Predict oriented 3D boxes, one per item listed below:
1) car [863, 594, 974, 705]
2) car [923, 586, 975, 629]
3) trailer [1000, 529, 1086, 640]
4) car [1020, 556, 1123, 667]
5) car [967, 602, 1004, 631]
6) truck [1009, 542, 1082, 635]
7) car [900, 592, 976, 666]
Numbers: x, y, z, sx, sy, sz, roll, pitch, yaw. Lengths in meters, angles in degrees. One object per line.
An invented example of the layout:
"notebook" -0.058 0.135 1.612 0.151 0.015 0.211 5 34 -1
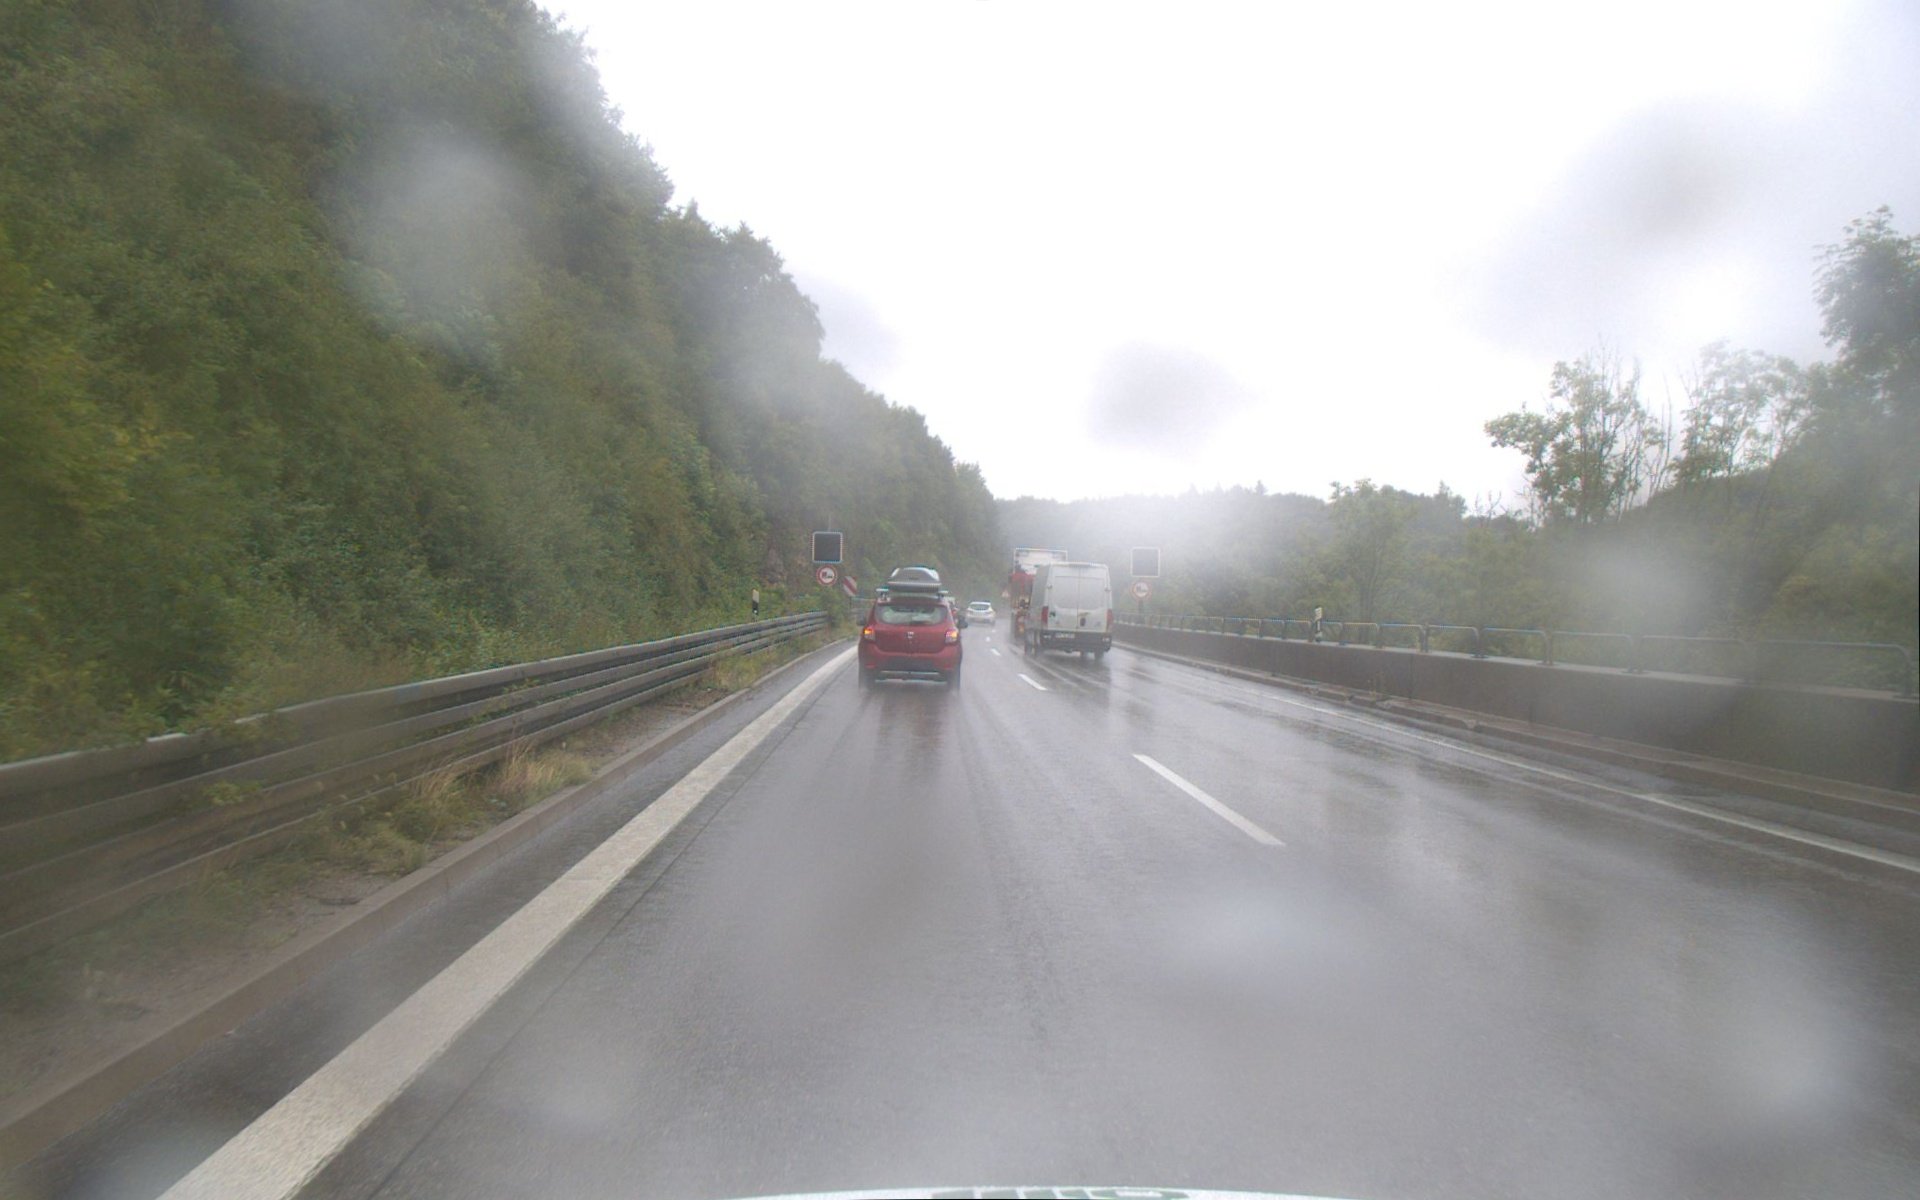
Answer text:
"car" -0.694 0.807 28.178 1.722 1.714 3.999 -1 -1 -1
"car" -0.437 0.323 70.455 1.835 1.736 3.890 -1 -1 4
"trailer" 3.507 -0.558 68.361 3.151 4.069 13.529 1 0 4
"car" 3.083 0.317 47.399 2.161 2.843 7.380 2 0 -1
"car" 1.580 1.006 101.800 1.951 1.668 4.002 -1 -1 5
"truck" 3.950 -0.508 75.652 3.152 4.047 5.441 1 0 4
"car" -0.533 0.705 41.422 1.795 1.745 3.644 -1 -1 0
